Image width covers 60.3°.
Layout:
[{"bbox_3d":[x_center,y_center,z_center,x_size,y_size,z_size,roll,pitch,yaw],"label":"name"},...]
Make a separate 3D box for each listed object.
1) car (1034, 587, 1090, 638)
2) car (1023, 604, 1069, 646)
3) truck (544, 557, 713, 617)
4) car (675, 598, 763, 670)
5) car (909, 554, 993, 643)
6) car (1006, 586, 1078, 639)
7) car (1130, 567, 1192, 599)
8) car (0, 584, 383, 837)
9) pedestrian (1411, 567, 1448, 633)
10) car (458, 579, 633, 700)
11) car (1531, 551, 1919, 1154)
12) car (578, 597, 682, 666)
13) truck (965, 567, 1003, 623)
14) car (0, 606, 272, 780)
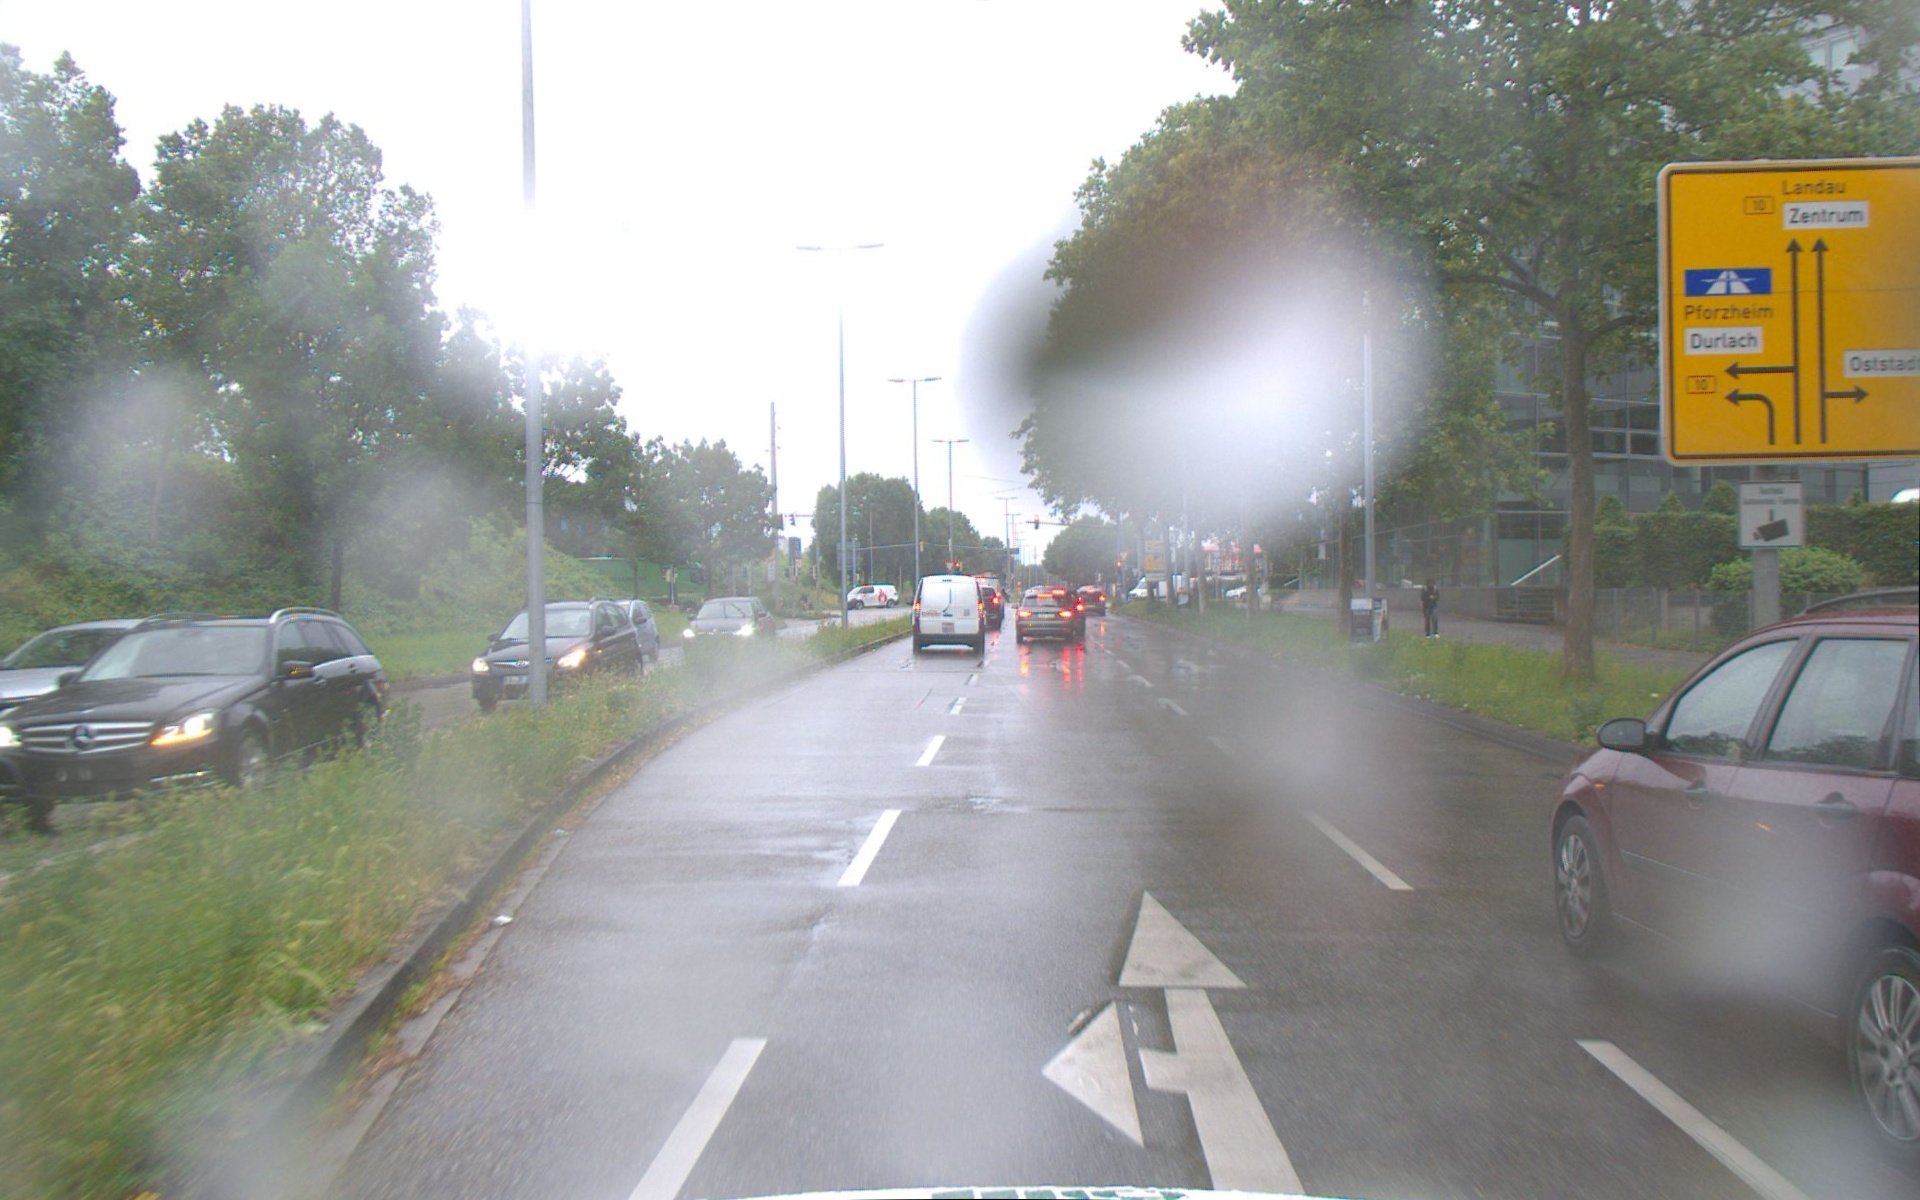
[{"bbox_3d":[3.339,0.369,54.592,1.673,1.577,4.001,0,1,1],"label":"car"},{"bbox_3d":[3.229,0.929,62.506,1.676,1.470,4.001,0,1,2],"label":"car"},{"bbox_3d":[-20.387,-0.730,102.183,10.022,3.512,2.626,1,-2,-35],"label":"truck"},{"bbox_3d":[-5.867,0.791,40.680,1.686,1.646,4.344,-1,0,-2],"label":"car"},{"bbox_3d":[-0.169,0.011,40.241,1.952,2.049,4.000,0,-1,1],"label":"car"},{"bbox_3d":[2.333,0.356,48.026,1.952,1.478,4.000,0,0,1],"label":"car"},{"bbox_3d":[18.740,-1.561,154.061,5.948,2.792,1.976,1,-2,-34],"label":"car"},{"bbox_3d":[-6.060,0.755,13.430,1.875,1.601,4.696,-3,0,-11],"label":"car"},{"bbox_3d":[12.889,-0.008,45.461,0.651,1.793,1.075,0,0,-3],"label":"pedestrian"},{"bbox_3d":[-6.199,0.538,25.215,1.788,1.602,4.356,-2,0,-4],"label":"car"},{"bbox_3d":[3.421,0.664,5.379,1.801,1.563,4.112,0,0,1],"label":"car"},{"bbox_3d":[-8.281,0.760,41.807,1.660,1.646,3.849,-1,0,3],"label":"car"},{"bbox_3d":[1.127,-0.211,76.390,1.720,2.509,4.000,0,0,1],"label":"truck"},{"bbox_3d":[-9.649,0.950,18.262,1.869,1.601,4.710,-4,0,3],"label":"car"}]
